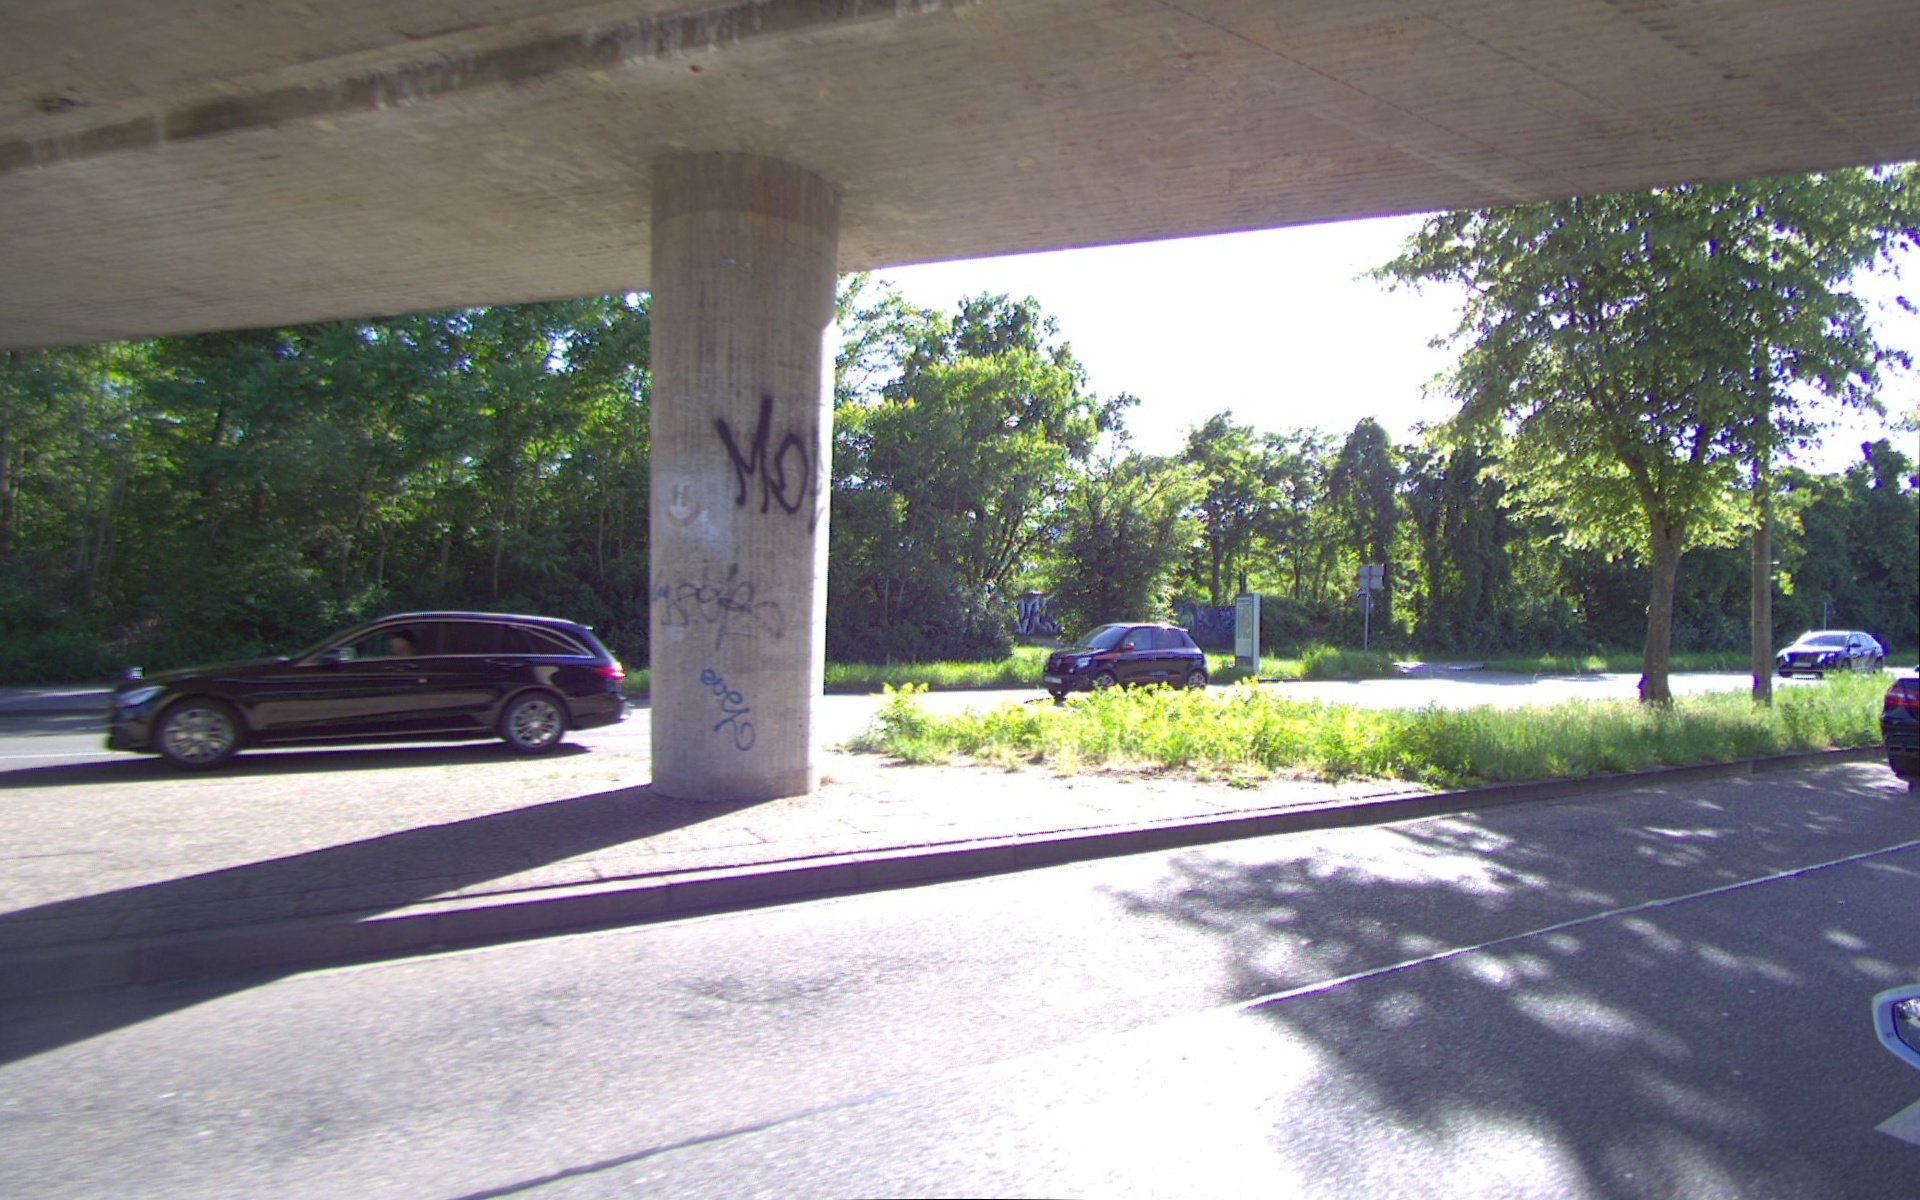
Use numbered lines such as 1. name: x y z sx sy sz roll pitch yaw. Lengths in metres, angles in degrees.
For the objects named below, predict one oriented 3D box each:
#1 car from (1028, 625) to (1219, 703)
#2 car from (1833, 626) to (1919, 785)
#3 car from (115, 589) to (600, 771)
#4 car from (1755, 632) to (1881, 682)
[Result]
1. car: 3.414 1.303 20.874 3.597 1.480 1.834 2 -2 -31
2. car: 11.450 1.102 10.554 4.860 1.502 1.950 2 -1 -30
3. car: -6.003 0.810 10.473 3.954 1.563 1.834 2 -4 -31
4. car: 30.549 2.034 35.745 4.538 1.573 1.973 2 0 -30
